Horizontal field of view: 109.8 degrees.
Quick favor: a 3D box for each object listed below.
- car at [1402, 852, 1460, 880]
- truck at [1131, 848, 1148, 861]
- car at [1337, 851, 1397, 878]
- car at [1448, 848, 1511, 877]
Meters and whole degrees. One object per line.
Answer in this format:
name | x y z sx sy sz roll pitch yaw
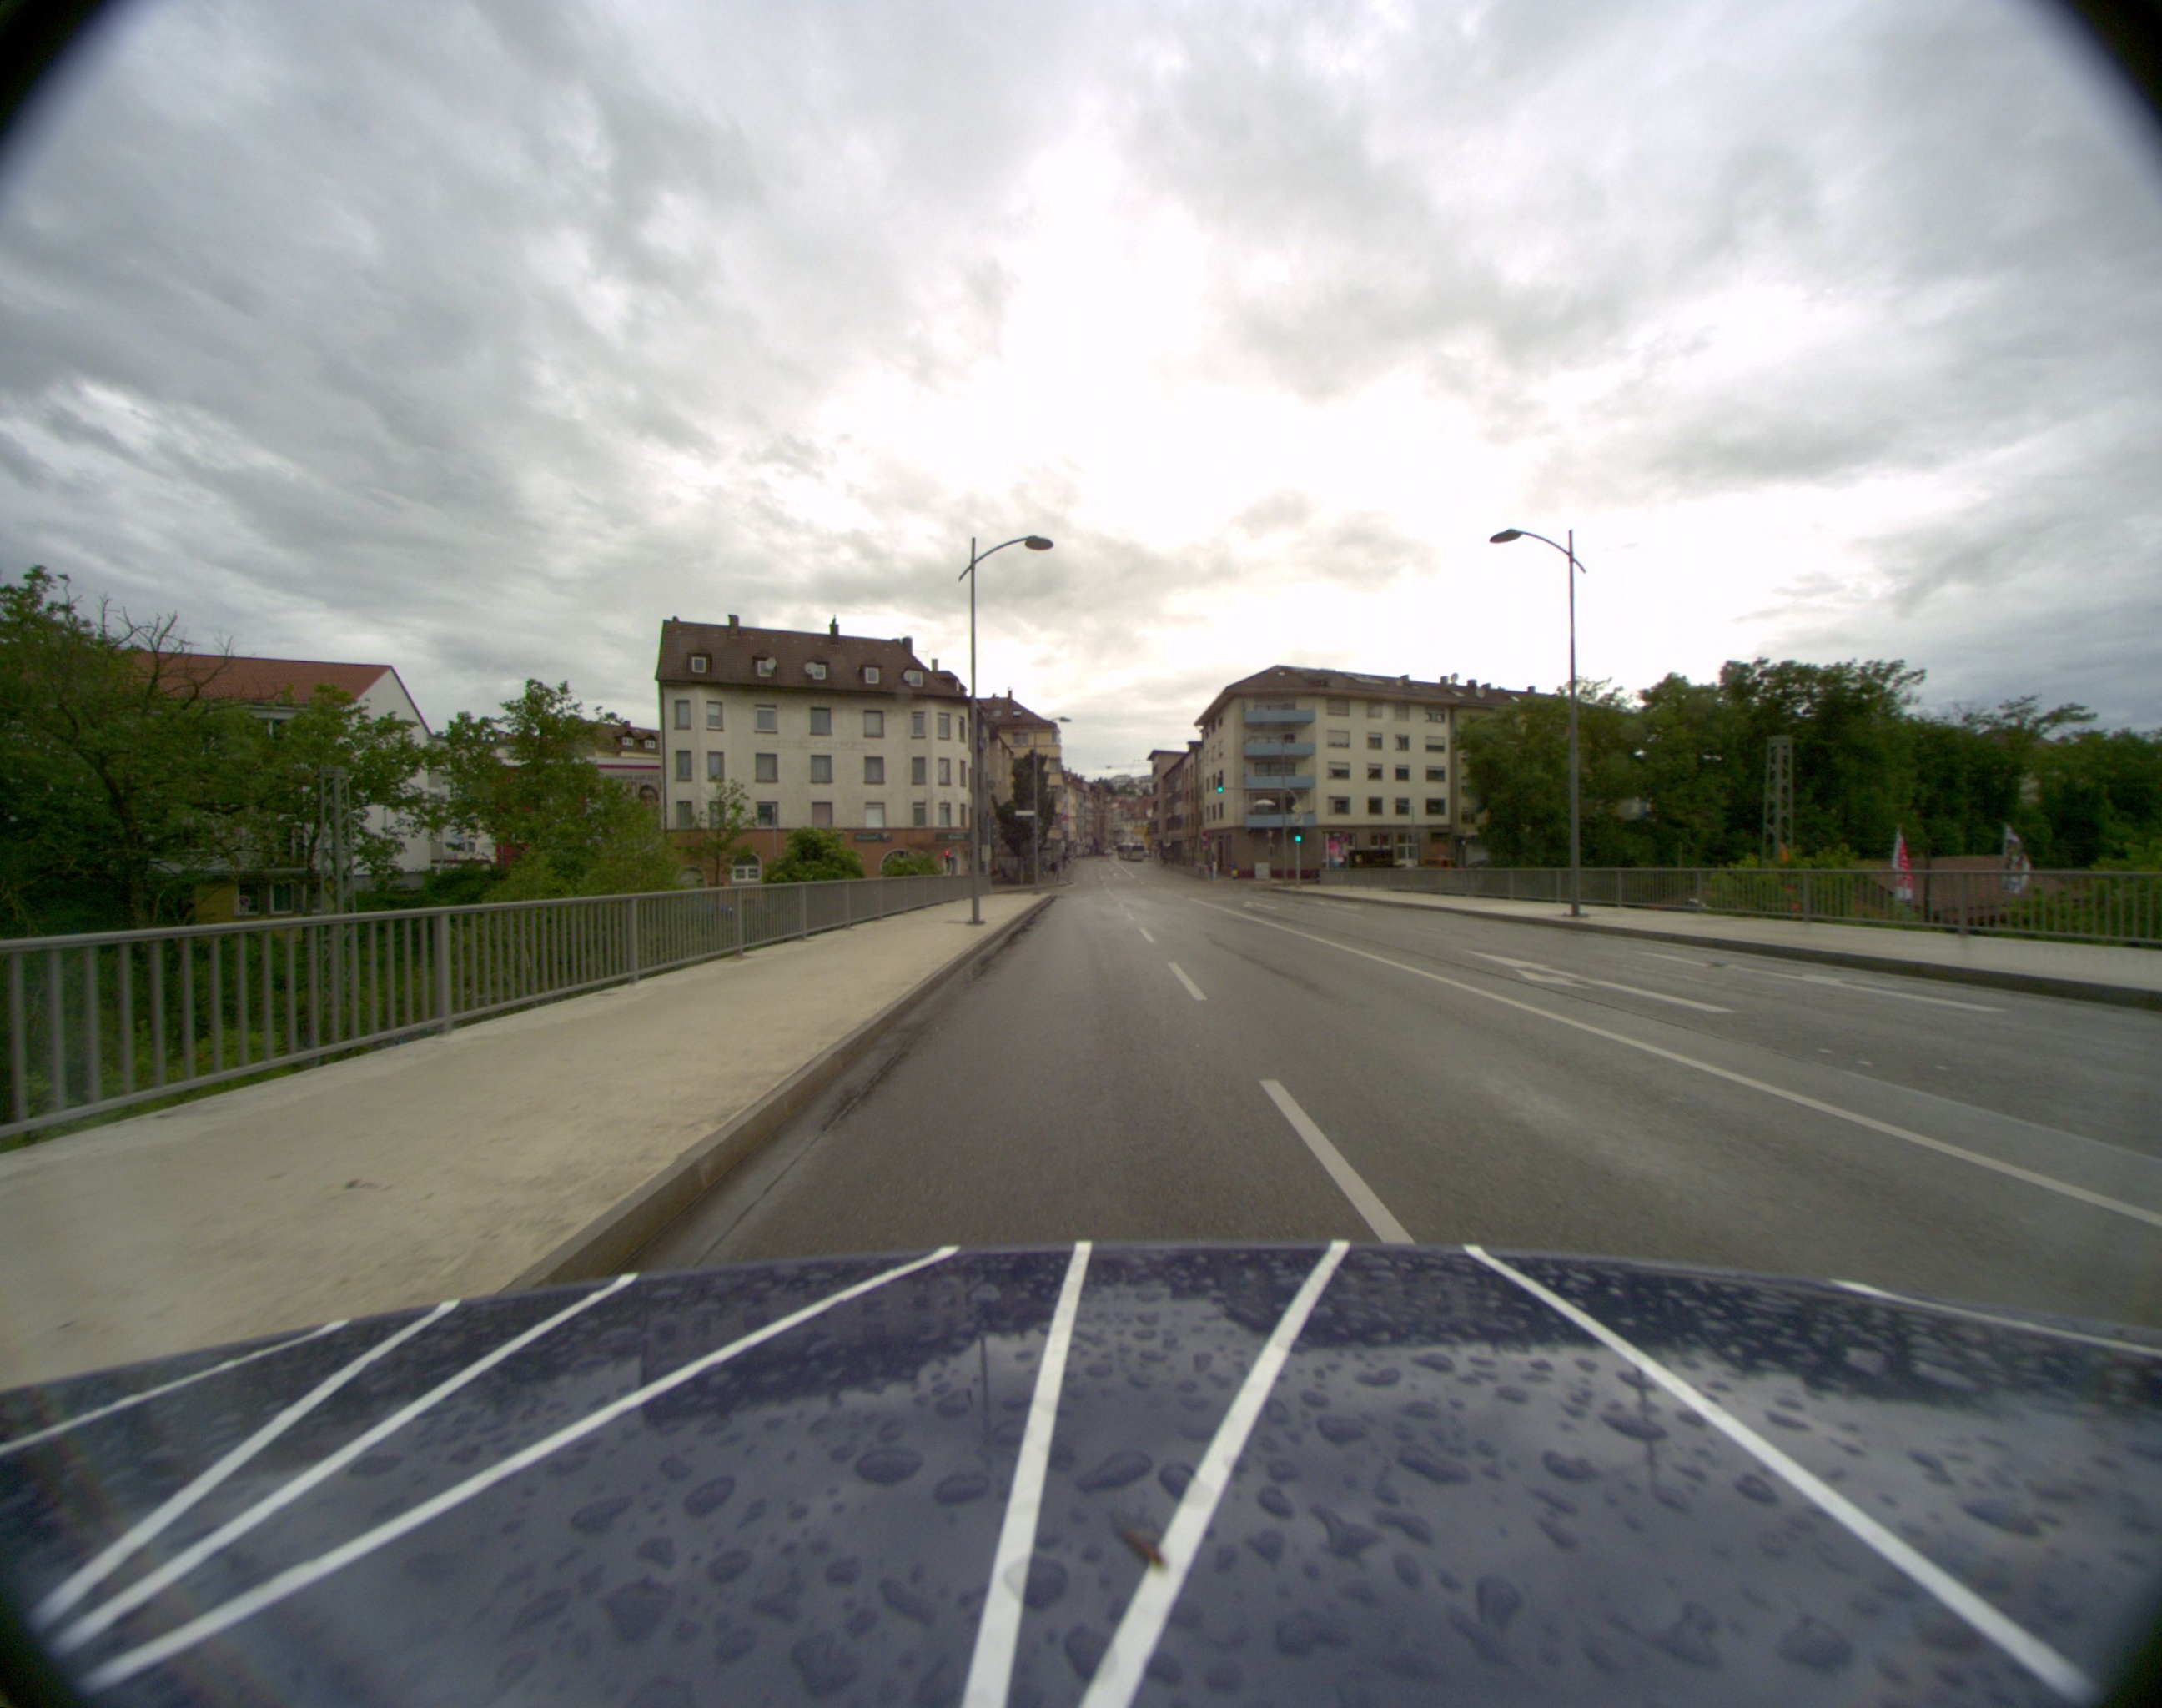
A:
car | 28.591 0.946 62.030 4.361 2.002 2.129 -2 2 -29
truck | 10.120 0.077 131.865 2.475 2.002 4.819 -2 2 1
car | 23.691 0.847 62.965 4.359 2.002 2.131 -2 1 -20
car | 30.099 0.577 57.384 4.361 2.002 2.129 -2 2 -29
